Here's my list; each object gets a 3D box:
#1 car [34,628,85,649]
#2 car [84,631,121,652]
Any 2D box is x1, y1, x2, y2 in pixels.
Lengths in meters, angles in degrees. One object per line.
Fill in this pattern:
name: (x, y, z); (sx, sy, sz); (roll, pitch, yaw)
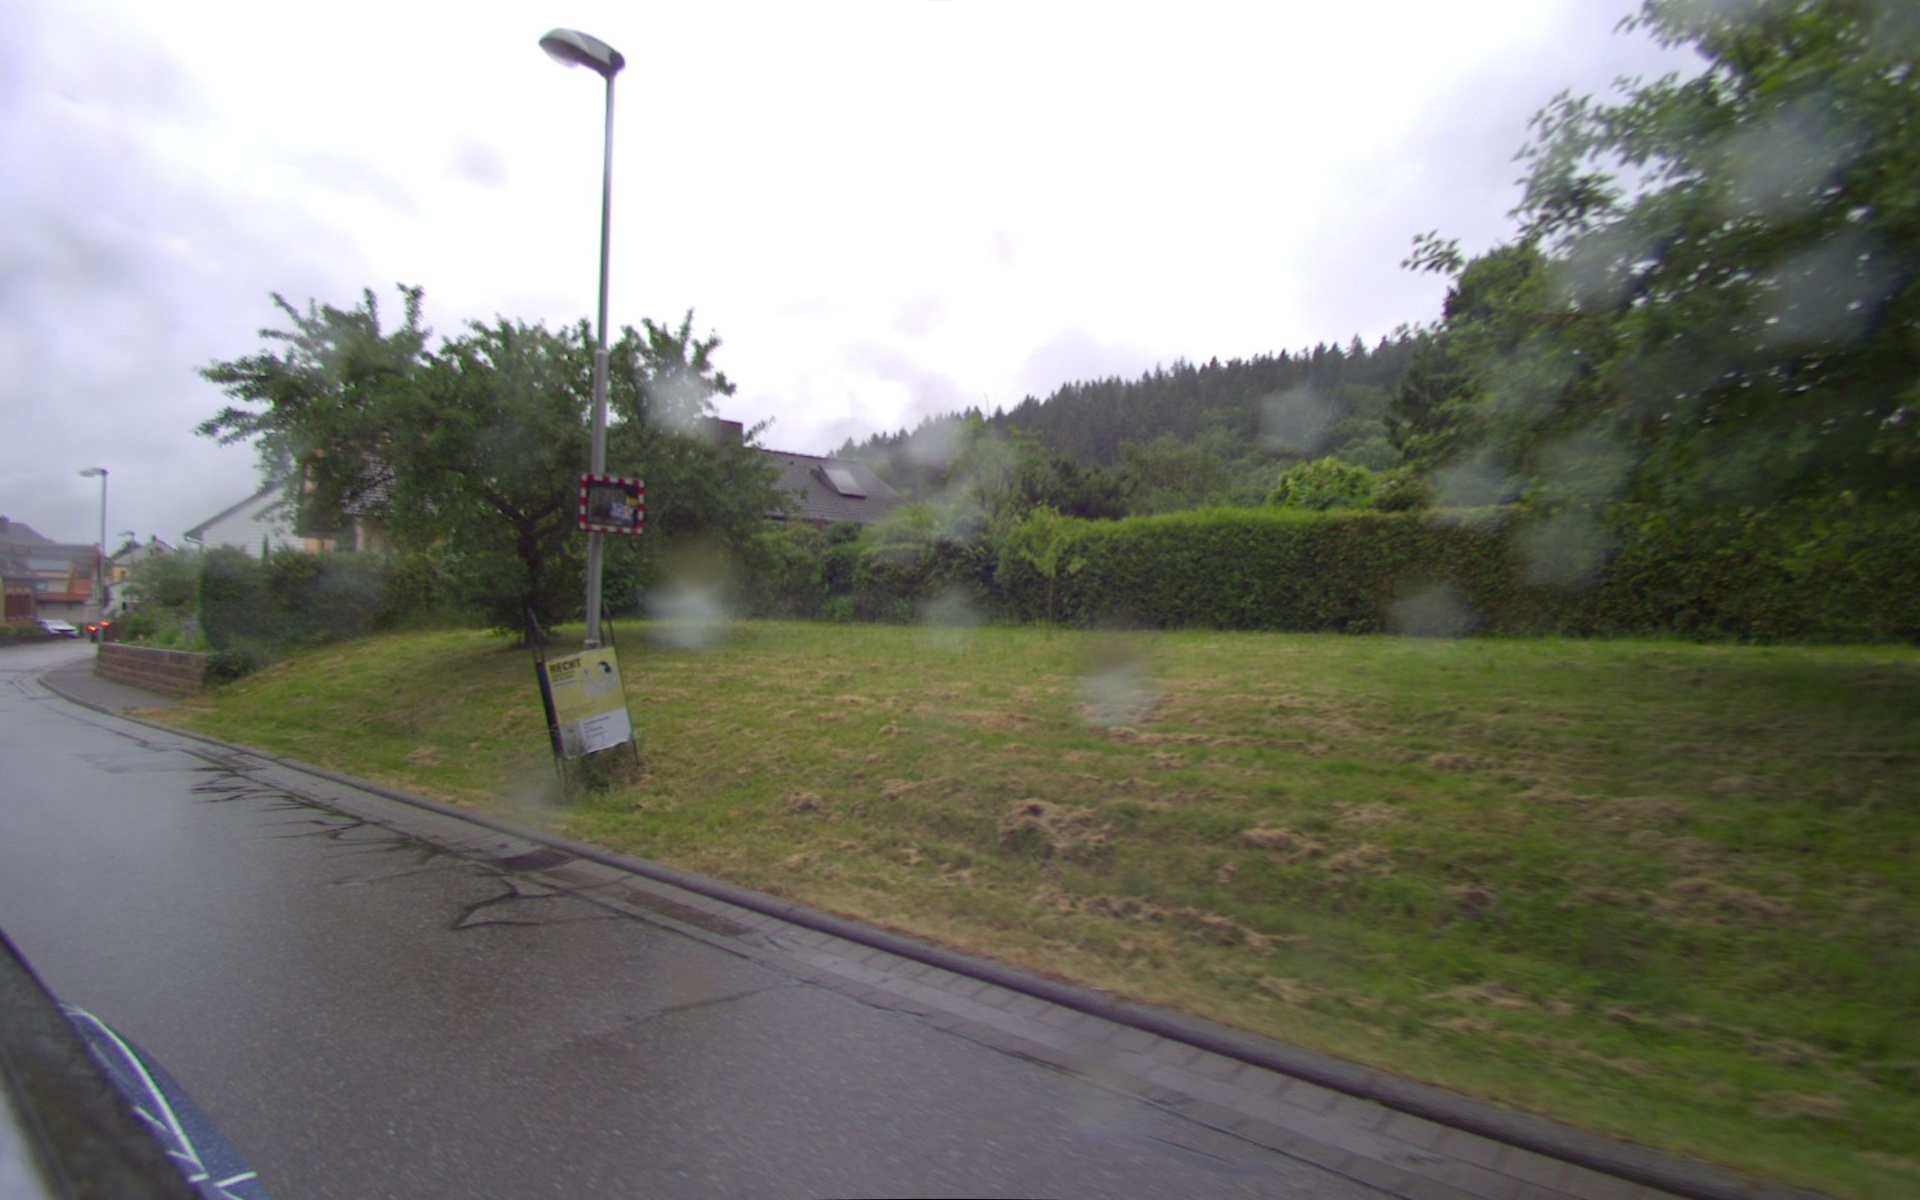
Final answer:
car: (-73.515, 3.152, 82.593); (3.873, 1.587, 1.873); (-1, 0, 28)
car: (-64.835, 3.134, 76.557); (1.677, 1.558, 3.860); (4, -4, -35)
